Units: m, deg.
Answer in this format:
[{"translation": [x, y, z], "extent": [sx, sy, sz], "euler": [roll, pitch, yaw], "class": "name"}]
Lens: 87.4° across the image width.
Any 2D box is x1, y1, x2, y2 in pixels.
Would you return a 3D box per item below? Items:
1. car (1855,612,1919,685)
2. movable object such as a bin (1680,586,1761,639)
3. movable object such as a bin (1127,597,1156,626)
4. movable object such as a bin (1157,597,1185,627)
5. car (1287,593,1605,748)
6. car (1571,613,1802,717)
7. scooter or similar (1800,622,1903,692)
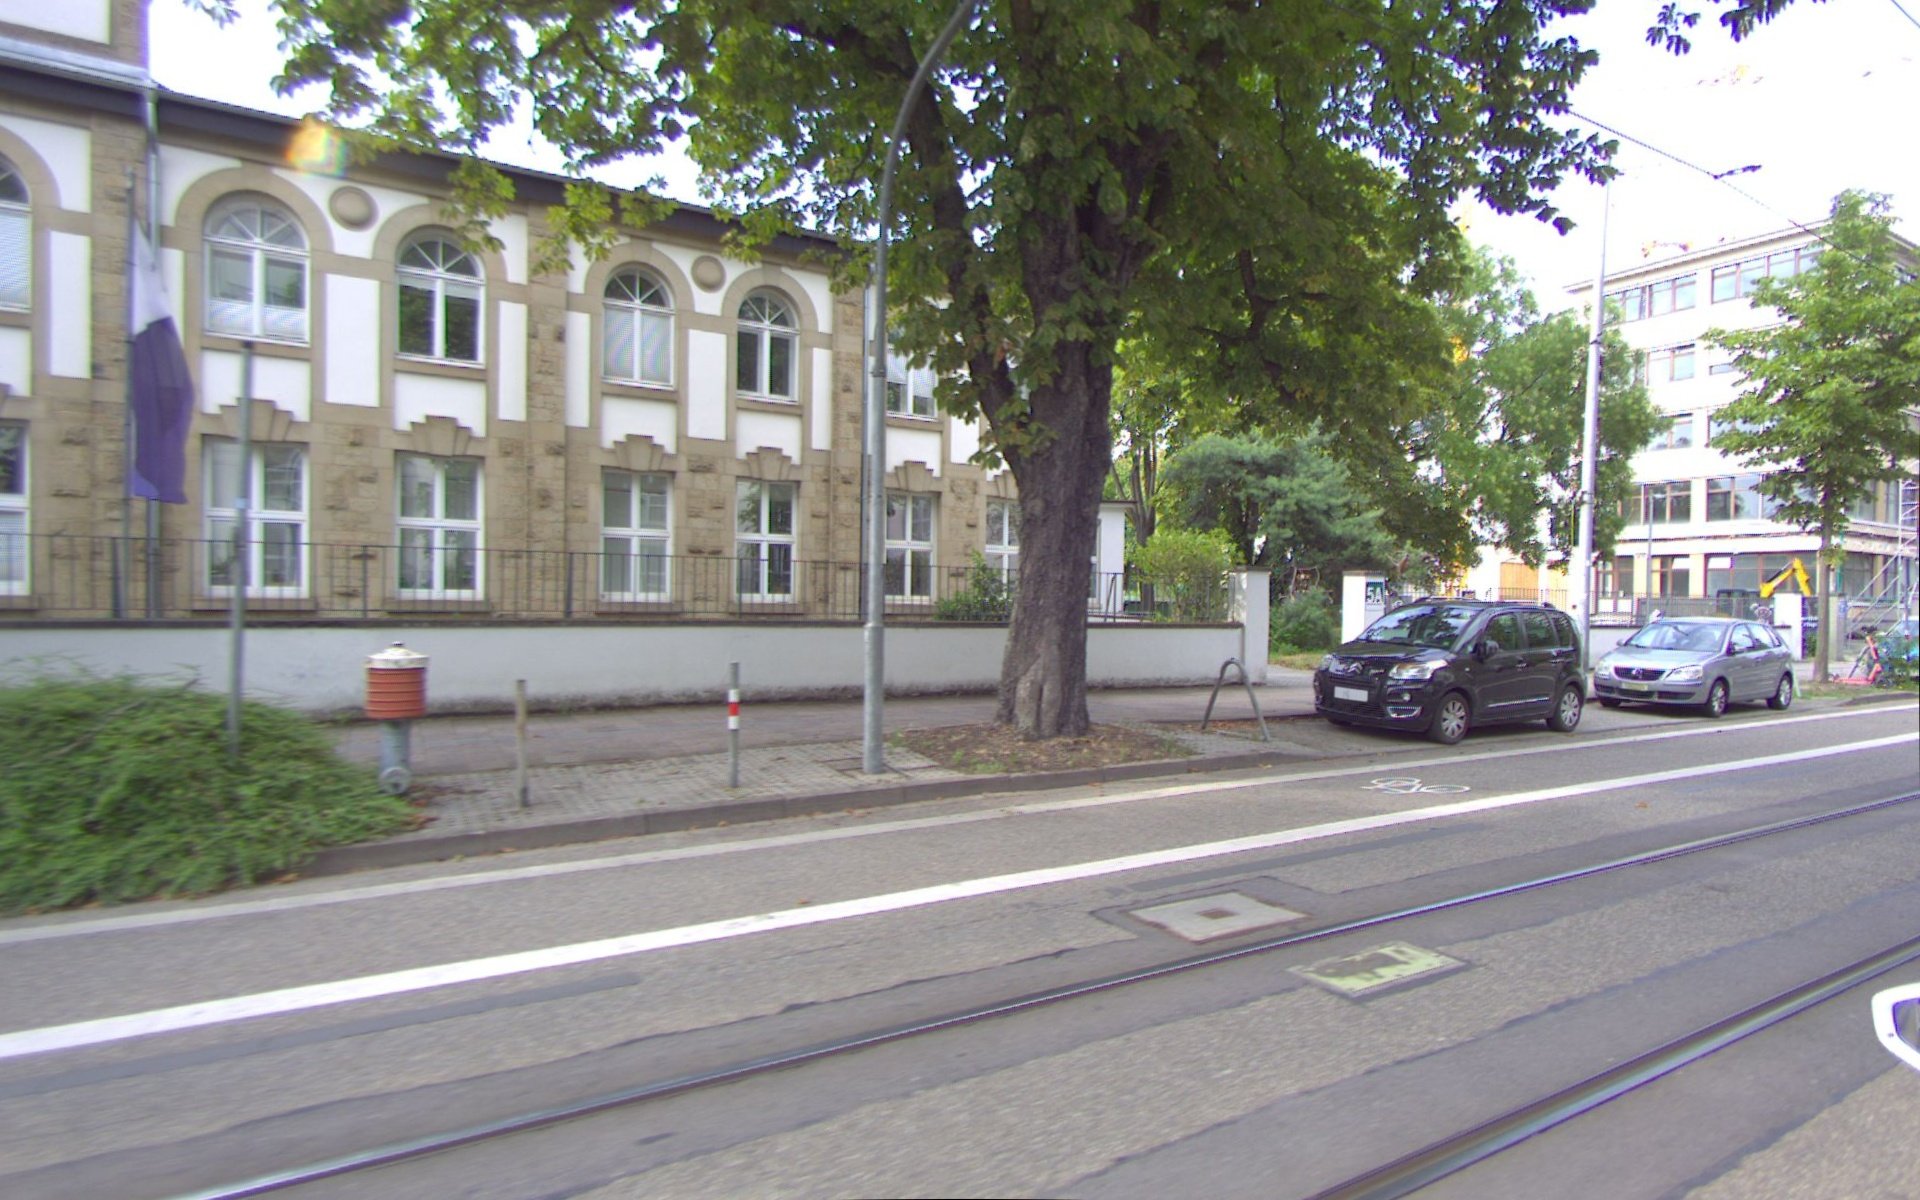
[{"translation": [21.874, 1.067, 22.533], "extent": [3.636, 1.507, 1.684], "euler": [1, 1, -32], "class": "car"}, {"translation": [30.798, 0.489, 40.712], "extent": [1.936, 2.095, 1.978], "euler": [1, 0, -28], "class": "movable object such as a bin"}, {"translation": [8.773, 0.553, 48.557], "extent": [1.181, 1.393, 0.861], "euler": [1, 1, -4], "class": "movable object such as a bin"}, {"translation": [10.196, 0.584, 48.540], "extent": [1.073, 1.393, 0.861], "euler": [1, 1, -4], "class": "movable object such as a bin"}, {"translation": [6.237, 0.798, 12.805], "extent": [4.006, 1.669, 1.746], "euler": [1, 1, -32], "class": "car"}, {"translation": [11.786, 0.976, 16.254], "extent": [3.824, 1.447, 1.684], "euler": [1, 1, -32], "class": "car"}, {"translation": [18.130, 1.126, 20.454], "extent": [0.691, 1.362, 1.438], "euler": [1, -1, -28], "class": "scooter or similar"}]
